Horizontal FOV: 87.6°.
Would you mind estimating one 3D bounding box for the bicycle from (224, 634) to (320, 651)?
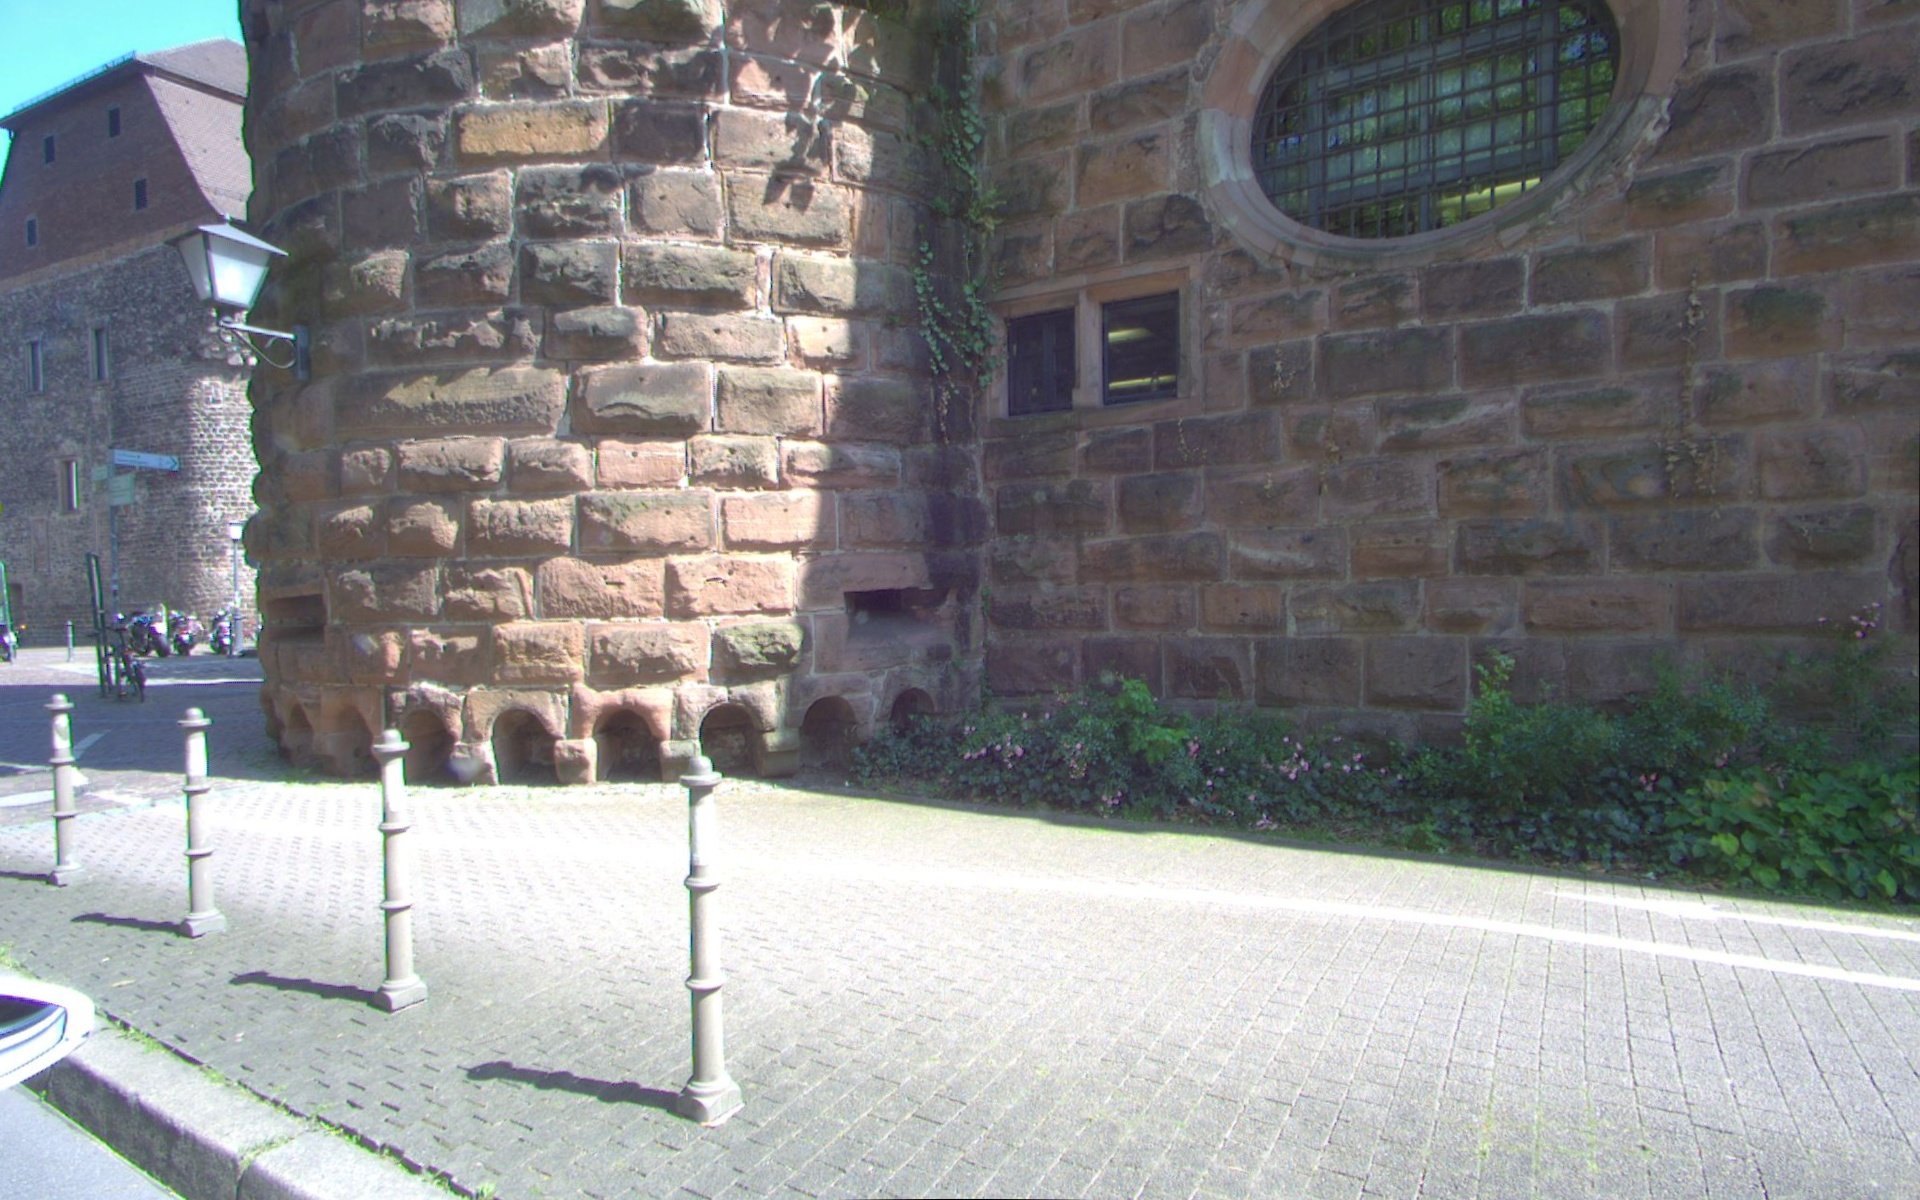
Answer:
[{"bbox_3d":[-17.613,1.083,25.649,1.916,0.386,0.909,0,-2,-44],"label":"bicycle"}]

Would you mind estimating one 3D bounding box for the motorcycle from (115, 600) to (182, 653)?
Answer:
[{"bbox_3d":[-20.632,0.679,25.437,2.169,1.282,0.654,-1,-1,32],"label":"motorcycle"}]

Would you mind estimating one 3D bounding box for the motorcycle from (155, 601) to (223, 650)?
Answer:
[{"bbox_3d":[-20.338,0.678,26.395,2.280,1.251,0.674,-1,-2,32],"label":"motorcycle"}]

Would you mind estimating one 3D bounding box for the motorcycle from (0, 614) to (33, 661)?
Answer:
[{"bbox_3d":[-22.197,0.846,23.066,2.453,1.026,0.565,0,1,32],"label":"motorcycle"}]

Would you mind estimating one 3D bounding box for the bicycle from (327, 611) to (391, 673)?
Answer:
[{"bbox_3d":[-11.946,0.809,19.872,1.707,1.178,0.445,0,1,36],"label":"bicycle"}]

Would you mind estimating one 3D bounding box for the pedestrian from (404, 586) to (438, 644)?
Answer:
[{"bbox_3d":[-19.399,0.556,36.038,0.724,2.039,0.871,-1,-1,41],"label":"pedestrian"}]

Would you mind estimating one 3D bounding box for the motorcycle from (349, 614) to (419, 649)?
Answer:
[{"bbox_3d":[-18.053,0.978,31.422,0.474,1.067,1.858,-1,-2,40],"label":"motorcycle"}]

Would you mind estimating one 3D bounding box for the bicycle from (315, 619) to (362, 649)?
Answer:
[{"bbox_3d":[-18.385,1.001,29.623,1.898,0.831,0.353,0,-1,32],"label":"bicycle"}]

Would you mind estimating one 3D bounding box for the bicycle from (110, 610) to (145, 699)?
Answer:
[{"bbox_3d":[-12.046,0.757,14.477,1.750,1.220,0.192,0,1,44],"label":"bicycle"}]

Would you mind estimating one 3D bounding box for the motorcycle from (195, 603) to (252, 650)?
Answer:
[{"bbox_3d":[-19.922,0.722,27.084,2.002,1.251,0.545,-1,-2,32],"label":"motorcycle"}]

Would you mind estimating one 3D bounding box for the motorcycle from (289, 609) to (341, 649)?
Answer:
[{"bbox_3d":[-18.093,0.825,28.072,1.814,1.087,0.506,-1,-2,32],"label":"motorcycle"}]
